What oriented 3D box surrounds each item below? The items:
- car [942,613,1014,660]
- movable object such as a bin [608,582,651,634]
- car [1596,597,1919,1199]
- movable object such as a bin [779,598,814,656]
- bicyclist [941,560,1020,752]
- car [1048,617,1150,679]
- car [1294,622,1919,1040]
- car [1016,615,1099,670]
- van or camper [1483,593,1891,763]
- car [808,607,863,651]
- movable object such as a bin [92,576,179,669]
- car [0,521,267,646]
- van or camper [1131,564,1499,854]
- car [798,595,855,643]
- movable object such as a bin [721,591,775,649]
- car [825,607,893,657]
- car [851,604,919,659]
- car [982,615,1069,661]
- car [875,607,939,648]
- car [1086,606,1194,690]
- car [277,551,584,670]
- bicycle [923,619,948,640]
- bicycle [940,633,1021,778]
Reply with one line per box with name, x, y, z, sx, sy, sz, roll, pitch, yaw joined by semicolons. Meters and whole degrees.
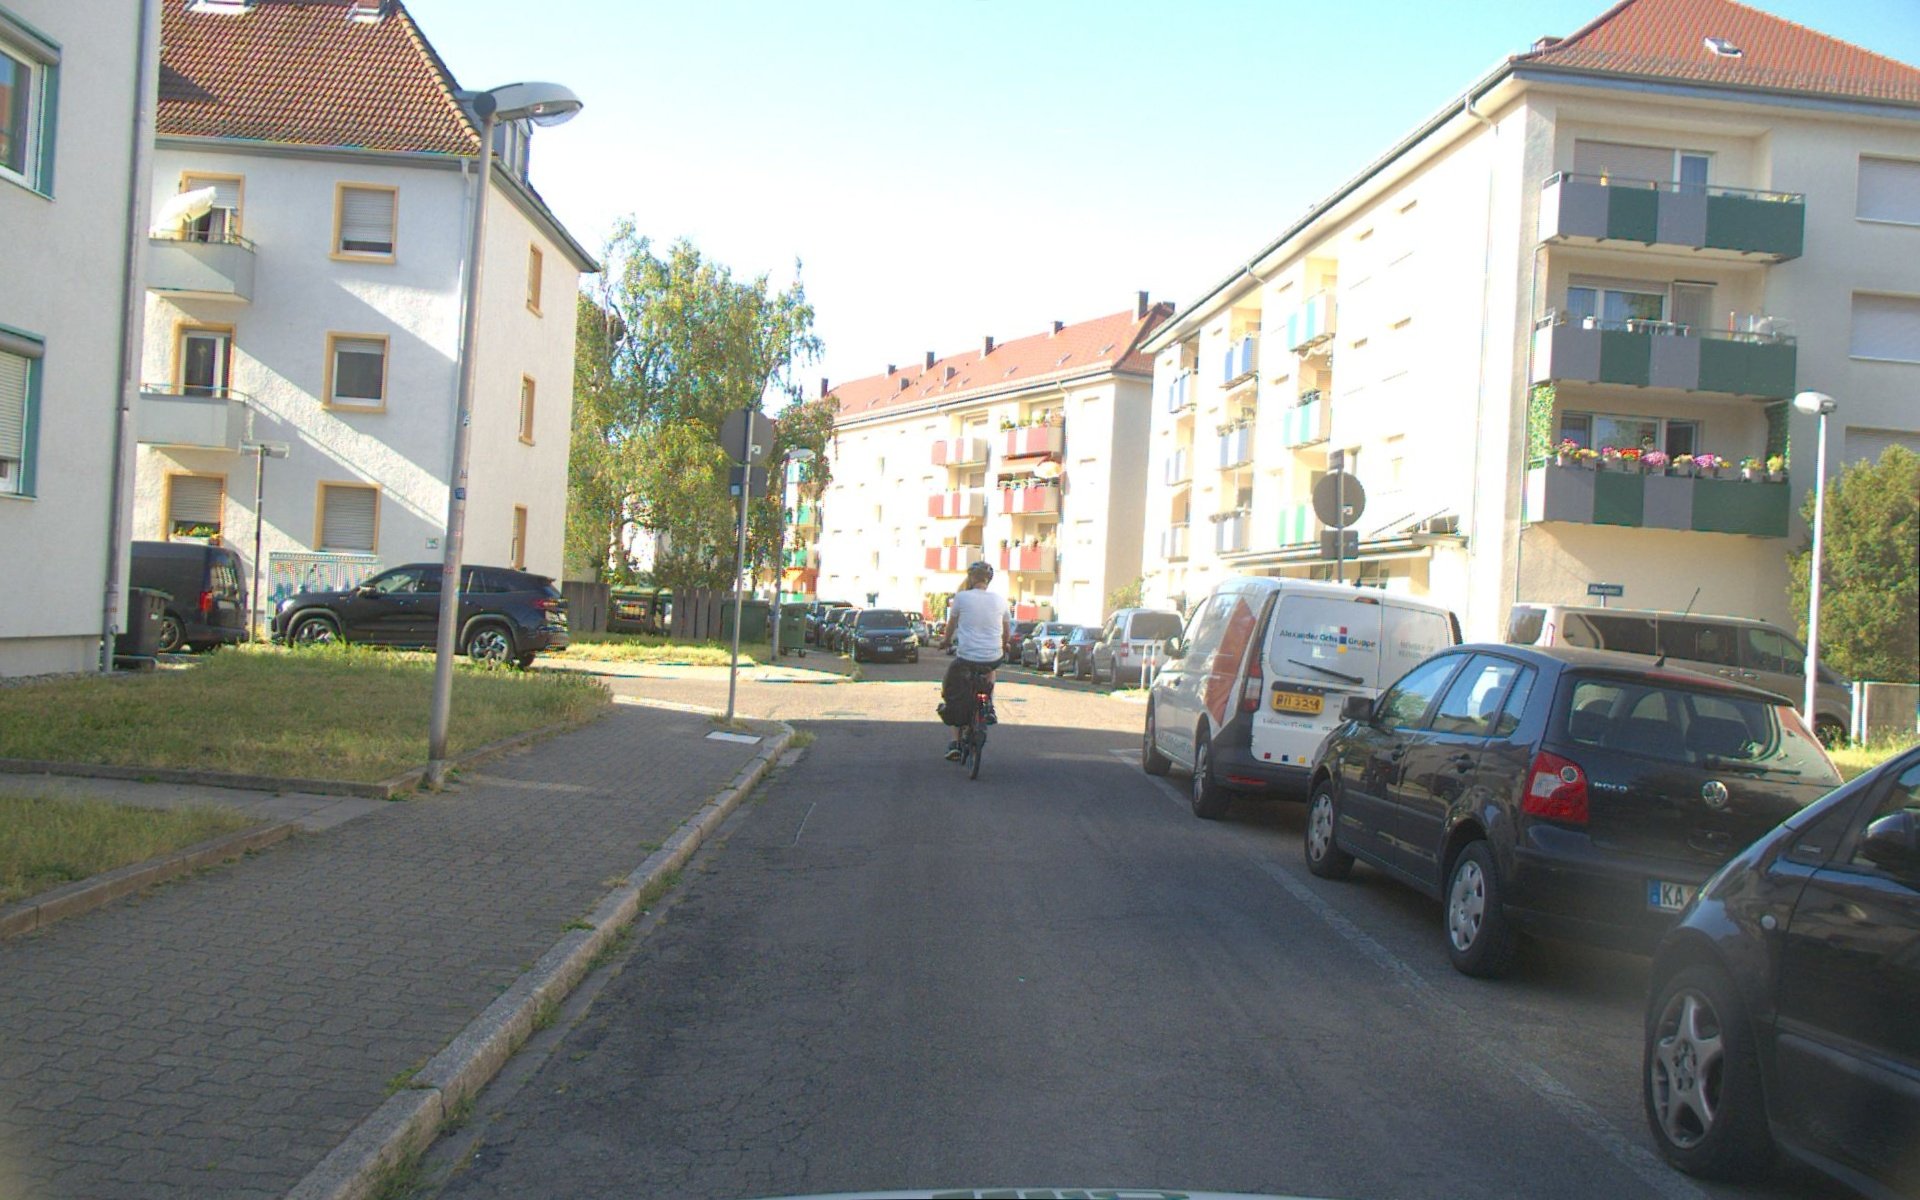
car;0.636;1.350;63.065;1.665;1.685;4.374;2;-1;-14
movable object such as a bin;-9.551;0.218;47.857;1.039;1.460;1.002;2;0;-4
car;3.033;0.843;3.559;1.586;1.577;3.607;4;0;-6
movable object such as a bin;-4.195;0.689;42.492;0.760;1.417;1.416;3;-1;-4
bicyclist;0.170;0.482;14.553;0.584;1.606;0.906;3;-1;-2
car;3.660;1.249;44.415;1.647;1.431;4.536;3;0;-9
car;2.981;0.930;8.336;1.542;1.441;3.786;5;0;-3
car;2.940;1.262;50.849;1.646;1.472;4.716;3;0;-7
van or camper;10.526;1.099;24.173;5.023;2.048;1.999;3;1;-4
car;-4.330;0.971;57.105;1.527;1.468;3.958;0;0;-10
movable object such as a bin;-9.465;0.249;19.001;0.600;1.009;0.714;4;0;-3
car;-13.664;-0.248;26.941;3.910;1.820;1.718;3;-2;-2
van or camper;2.667;0.750;13.629;1.757;1.777;4.733;7;0;-1
car;-5.111;0.719;62.786;1.529;1.744;4.322;0;0;-13
movable object such as a bin;-5.485;0.516;42.799;1.195;1.404;0.767;4;-1;1
car;-3.193;0.971;51.777;1.647;1.468;4.270;0;0;-10
car;-2.178;0.862;47.008;1.646;1.478;4.614;0;0;-6
car;2.161;1.265;56.184;1.665;1.457;4.669;2;-1;-14
car;-2.434;1.235;75.438;1.740;1.664;4.018;1;1;-20
car;4.173;1.084;38.922;1.713;1.856;4.126;1;0;-6
car;-8.603;0.191;27.140;4.398;1.693;1.718;3;-2;-2
bicycle;-1.246;1.517;84.745;0.609;0.995;1.883;0;2;-23
bicycle;0.156;0.891;14.566;0.614;1.134;1.815;2;0;-1
